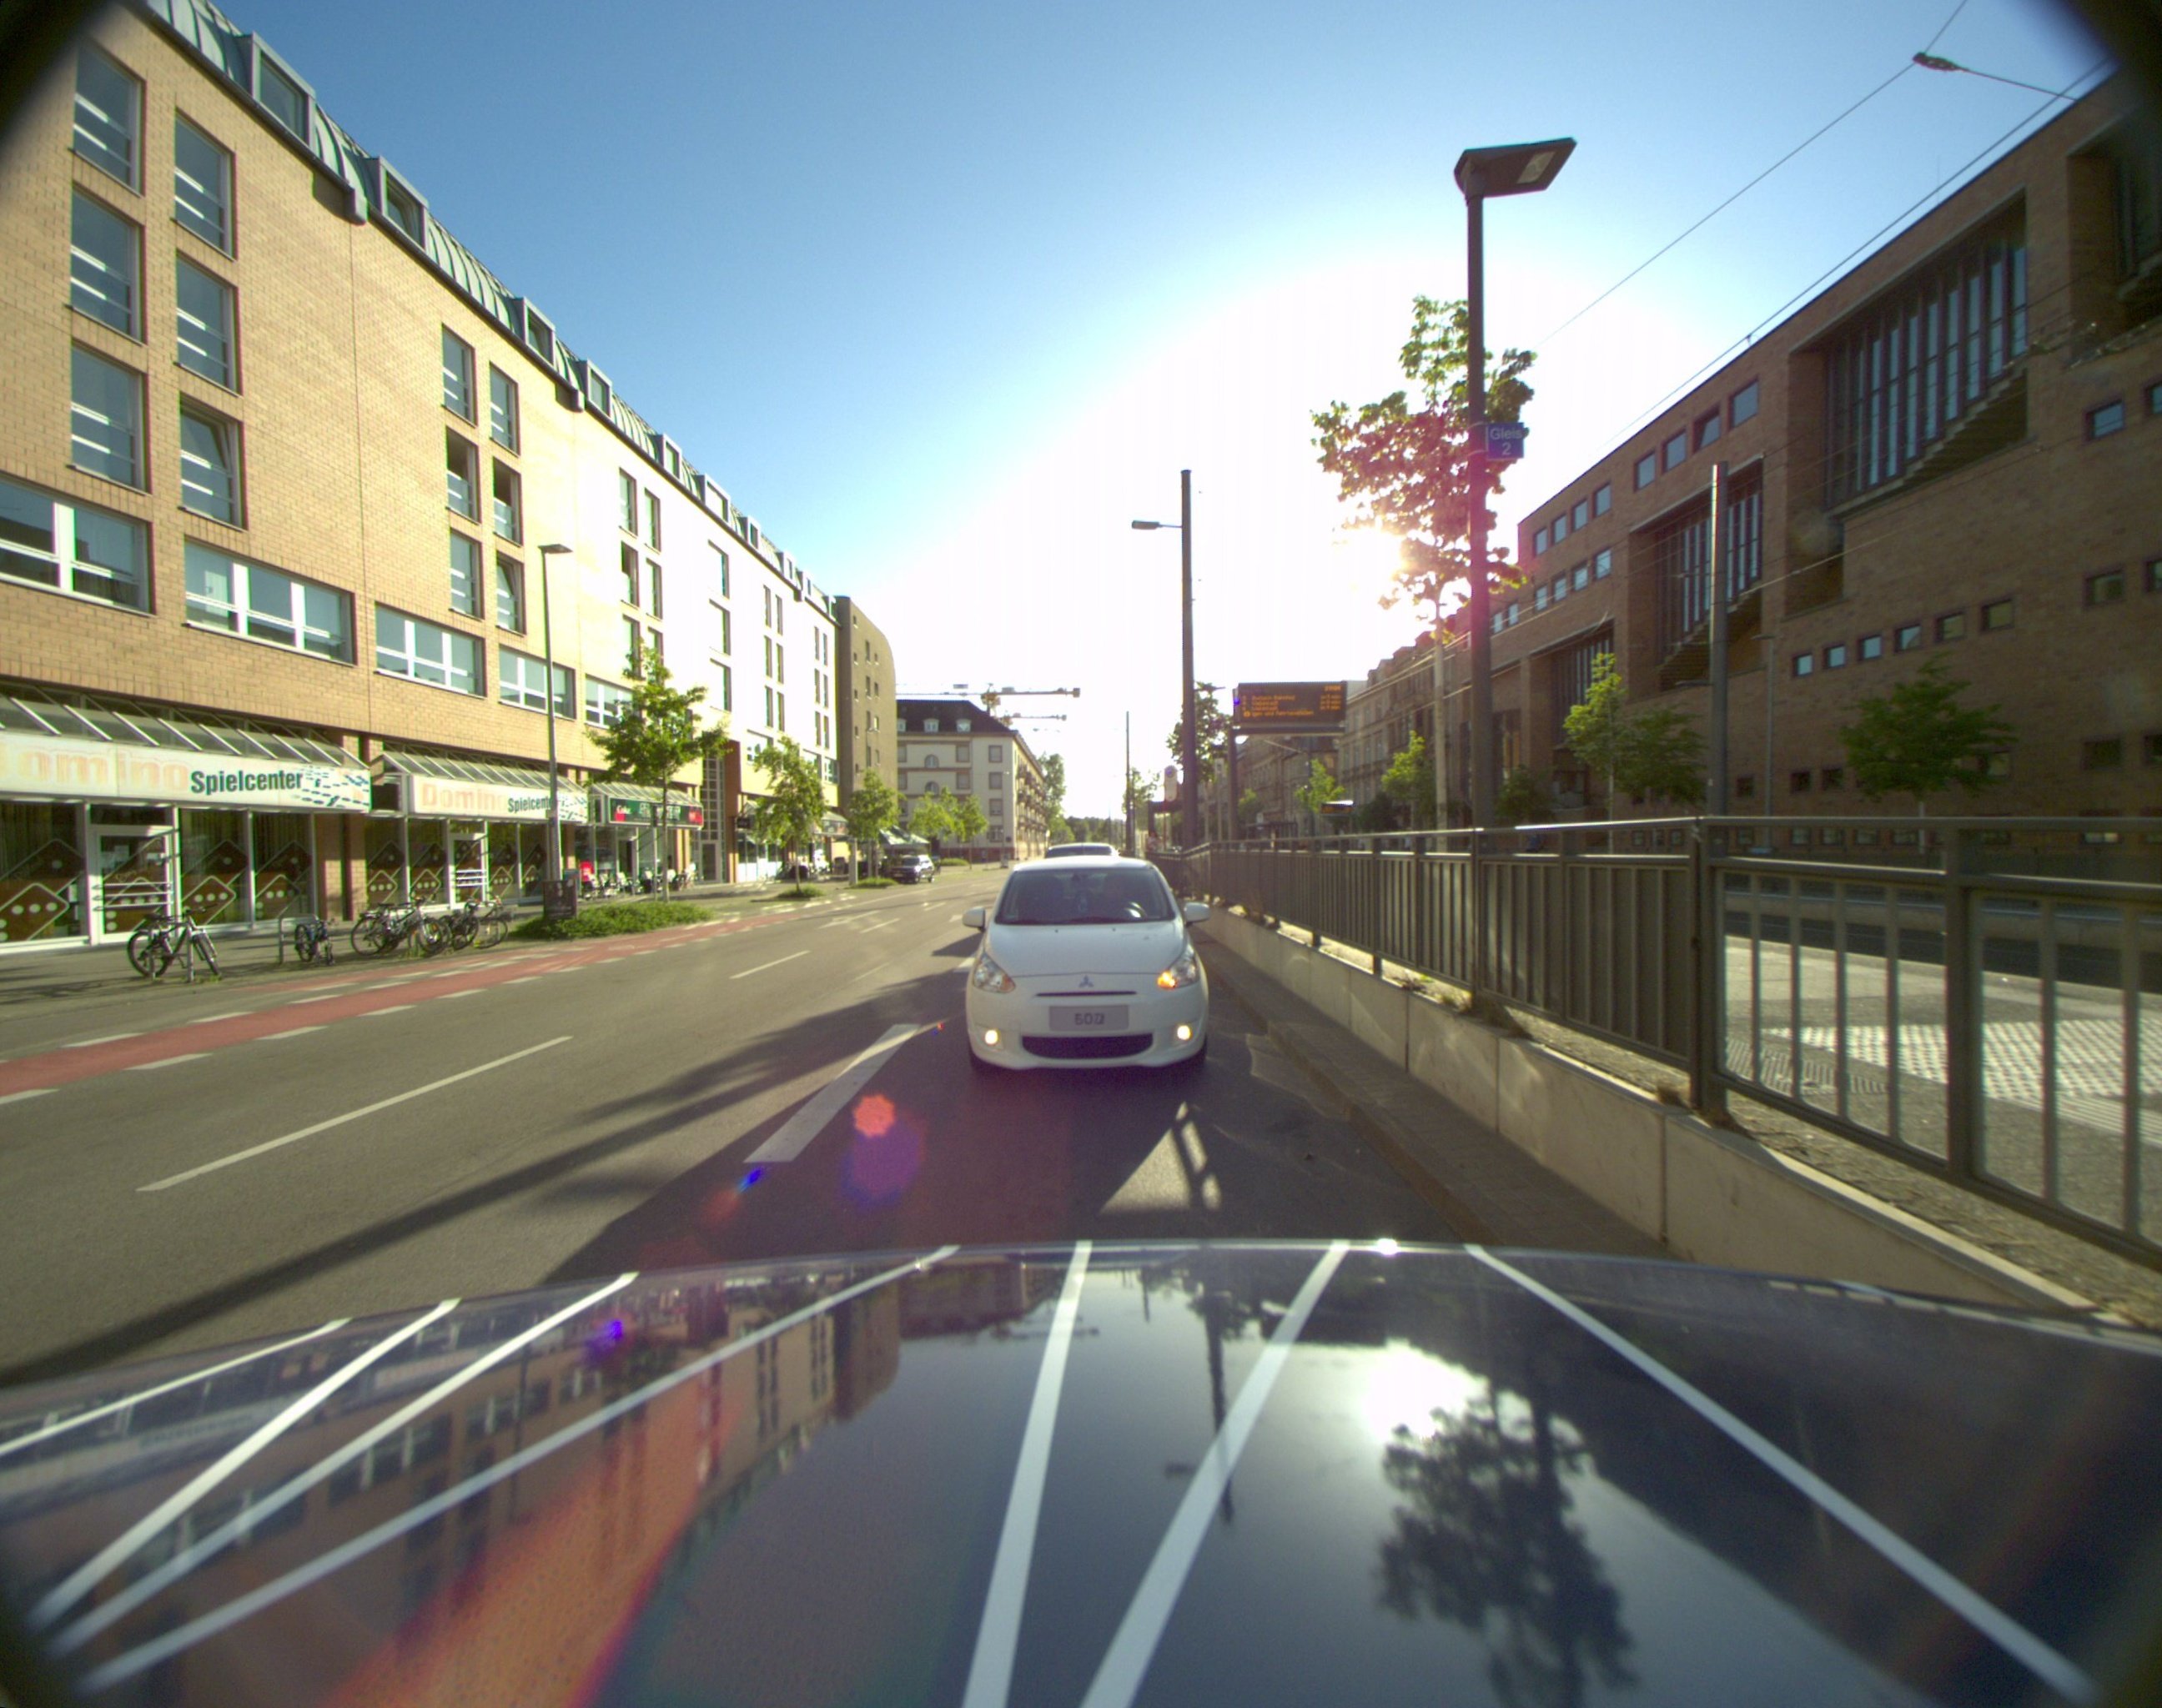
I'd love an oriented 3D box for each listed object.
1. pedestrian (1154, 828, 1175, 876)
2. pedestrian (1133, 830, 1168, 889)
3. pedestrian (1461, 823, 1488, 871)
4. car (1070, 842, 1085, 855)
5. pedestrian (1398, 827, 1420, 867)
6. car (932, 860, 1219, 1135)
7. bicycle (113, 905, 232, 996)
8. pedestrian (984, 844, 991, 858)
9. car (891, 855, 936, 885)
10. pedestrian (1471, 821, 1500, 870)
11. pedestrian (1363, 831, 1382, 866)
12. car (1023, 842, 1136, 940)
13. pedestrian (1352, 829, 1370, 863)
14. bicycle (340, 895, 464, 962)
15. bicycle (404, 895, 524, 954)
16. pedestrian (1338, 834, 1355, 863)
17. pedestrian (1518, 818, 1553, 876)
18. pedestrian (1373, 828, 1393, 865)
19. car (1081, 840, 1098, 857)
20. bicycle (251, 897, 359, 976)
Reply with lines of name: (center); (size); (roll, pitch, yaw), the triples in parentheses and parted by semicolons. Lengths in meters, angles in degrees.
pedestrian: (3.551, -0.082, 32.363); (0.784, 2.002, 0.880); (-1, 1, 0)
pedestrian: (2.404, 0.182, 26.192); (0.882, 2.002, 0.782); (-2, 2, -44)
pedestrian: (14.443, -0.248, 27.888); (0.692, 1.732, 0.586); (-1, 1, -2)
car: (-0.470, -0.666, 98.886); (1.829, 1.644, 3.682); (-1, 1, 0)
pedestrian: (14.439, -0.302, 33.445); (0.692, 1.732, 0.586); (-1, 1, -2)
car: (-0.006, 0.867, 6.583); (1.640, 1.458, 4.185); (-2, 1, 1)
bicycle: (-13.393, 1.390, 11.197); (1.771, 1.142, 0.554); (1, 3, 21)
pedestrian: (-11.032, -0.331, 89.372); (0.804, 1.656, 0.890); (-1, 1, -6)
car: (-9.698, 0.888, 44.194); (1.655, 1.521, 3.692); (-2, 1, 1)
pedestrian: (14.463, -0.308, 27.179); (0.692, 1.732, 0.586); (-1, 1, -2)
pedestrian: (14.415, -0.285, 37.620); (0.692, 1.732, 0.586); (-1, 1, -2)
car: (0.006, 0.629, 15.775); (1.955, 1.652, 4.354); (-2, 1, 1)
pedestrian: (14.334, -0.405, 38.912); (0.692, 1.732, 0.586); (-1, 1, -2)
bicycle: (-12.326, 1.335, 13.811); (1.774, 1.135, 0.553); (0, 3, 3)
bicycle: (-12.176, 1.375, 15.033); (1.774, 1.065, 0.737); (0, 3, 3)
pedestrian: (14.493, -0.323, 41.542); (0.692, 1.566, 0.586); (-1, 1, -2)
pedestrian: (13.936, -0.211, 23.303); (0.692, 1.732, 0.586); (-1, 1, -2)
pedestrian: (14.422, -0.356, 36.264); (0.692, 1.732, 0.586); (-1, 1, -2)
car: (0.986, -0.691, 89.818); (1.998, 1.958, 4.000); (-1, 1, 1)
bicycle: (-12.834, 1.340, 12.565); (1.771, 1.142, 0.554); (1, 3, 21)
